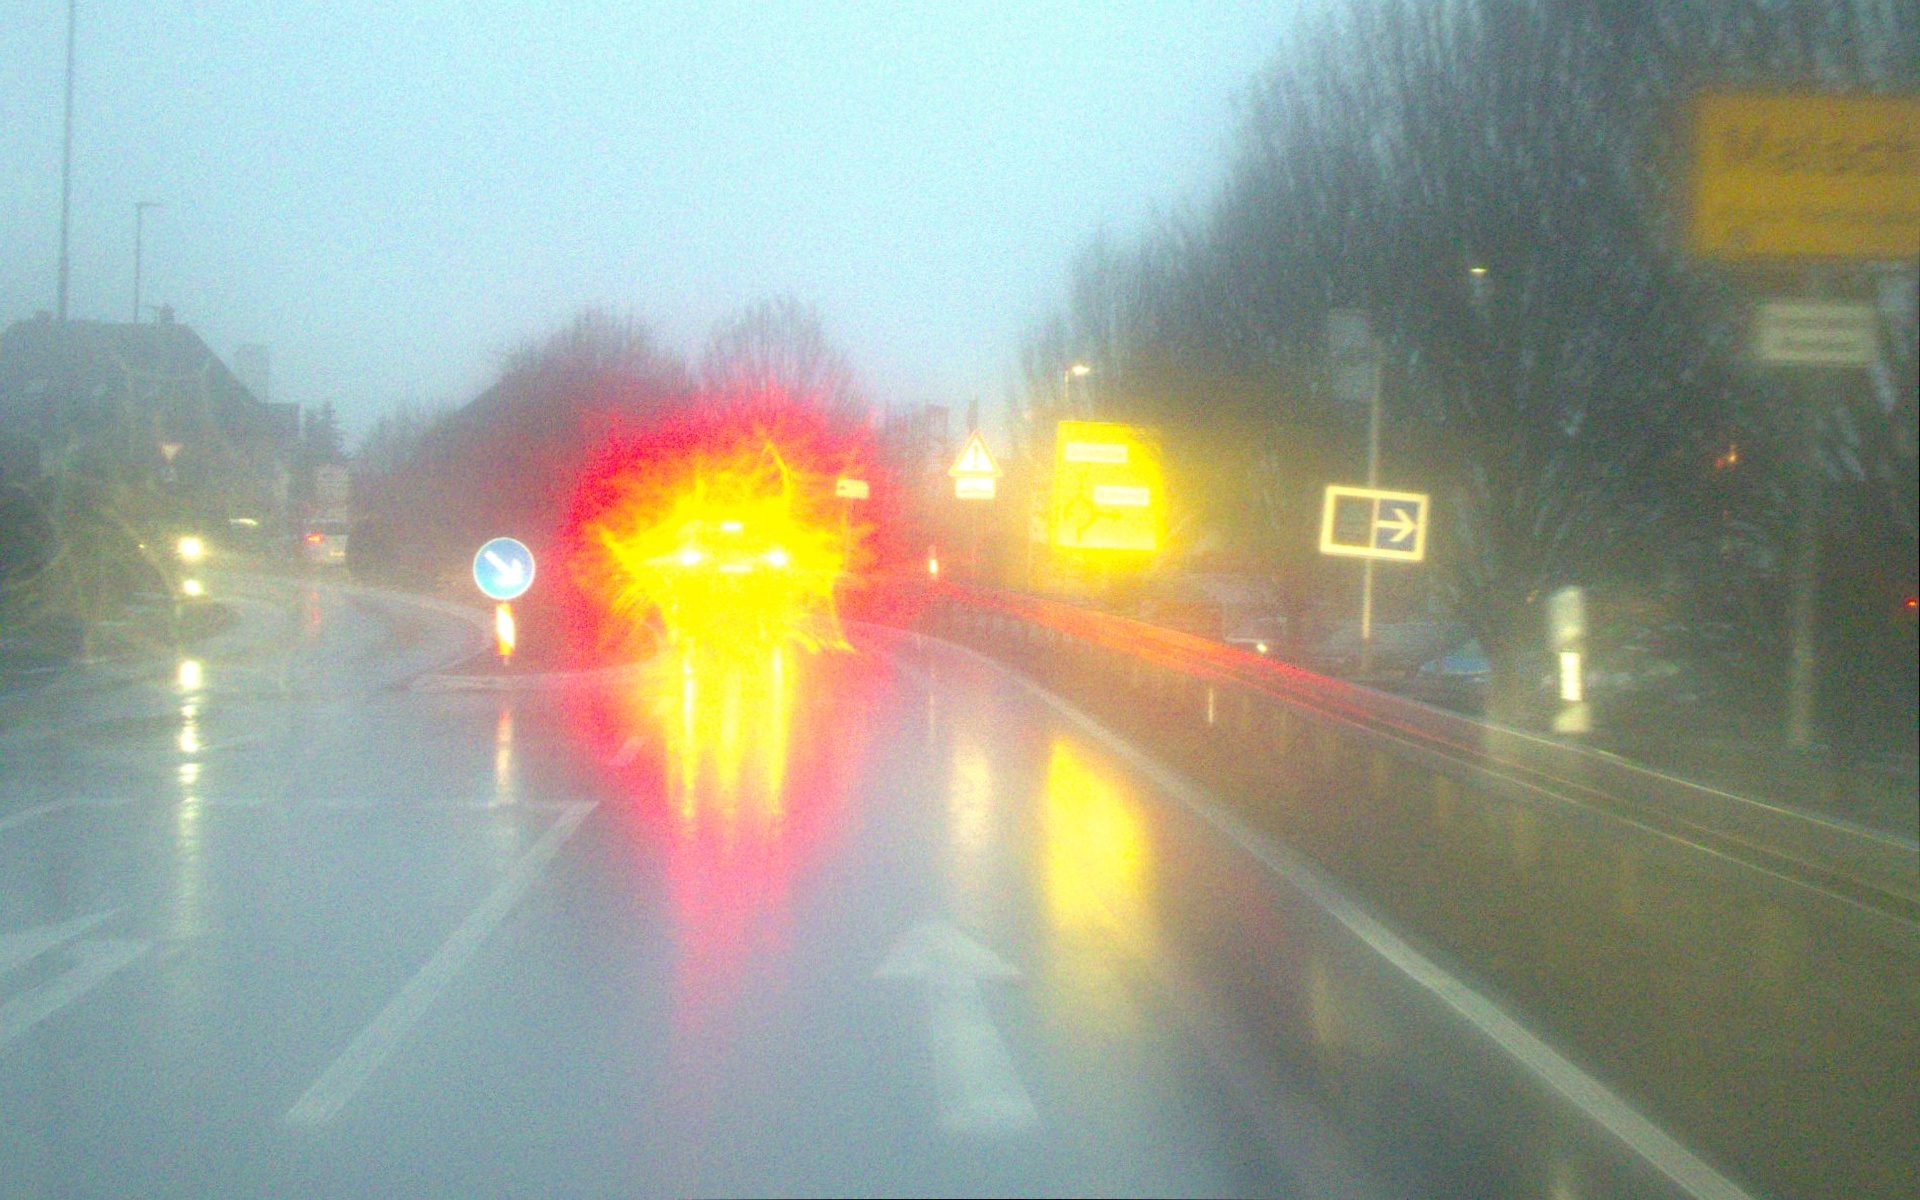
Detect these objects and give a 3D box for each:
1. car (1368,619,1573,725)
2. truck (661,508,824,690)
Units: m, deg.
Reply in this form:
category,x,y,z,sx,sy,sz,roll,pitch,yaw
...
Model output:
category,x,y,z,sx,sy,sz,roll,pitch,yaw
car,10.297,1.467,69.550,3.988,2.007,1.999,2,-2,7
truck,-3.698,-0.085,58.798,2.531,2.859,5.923,2,1,-3
